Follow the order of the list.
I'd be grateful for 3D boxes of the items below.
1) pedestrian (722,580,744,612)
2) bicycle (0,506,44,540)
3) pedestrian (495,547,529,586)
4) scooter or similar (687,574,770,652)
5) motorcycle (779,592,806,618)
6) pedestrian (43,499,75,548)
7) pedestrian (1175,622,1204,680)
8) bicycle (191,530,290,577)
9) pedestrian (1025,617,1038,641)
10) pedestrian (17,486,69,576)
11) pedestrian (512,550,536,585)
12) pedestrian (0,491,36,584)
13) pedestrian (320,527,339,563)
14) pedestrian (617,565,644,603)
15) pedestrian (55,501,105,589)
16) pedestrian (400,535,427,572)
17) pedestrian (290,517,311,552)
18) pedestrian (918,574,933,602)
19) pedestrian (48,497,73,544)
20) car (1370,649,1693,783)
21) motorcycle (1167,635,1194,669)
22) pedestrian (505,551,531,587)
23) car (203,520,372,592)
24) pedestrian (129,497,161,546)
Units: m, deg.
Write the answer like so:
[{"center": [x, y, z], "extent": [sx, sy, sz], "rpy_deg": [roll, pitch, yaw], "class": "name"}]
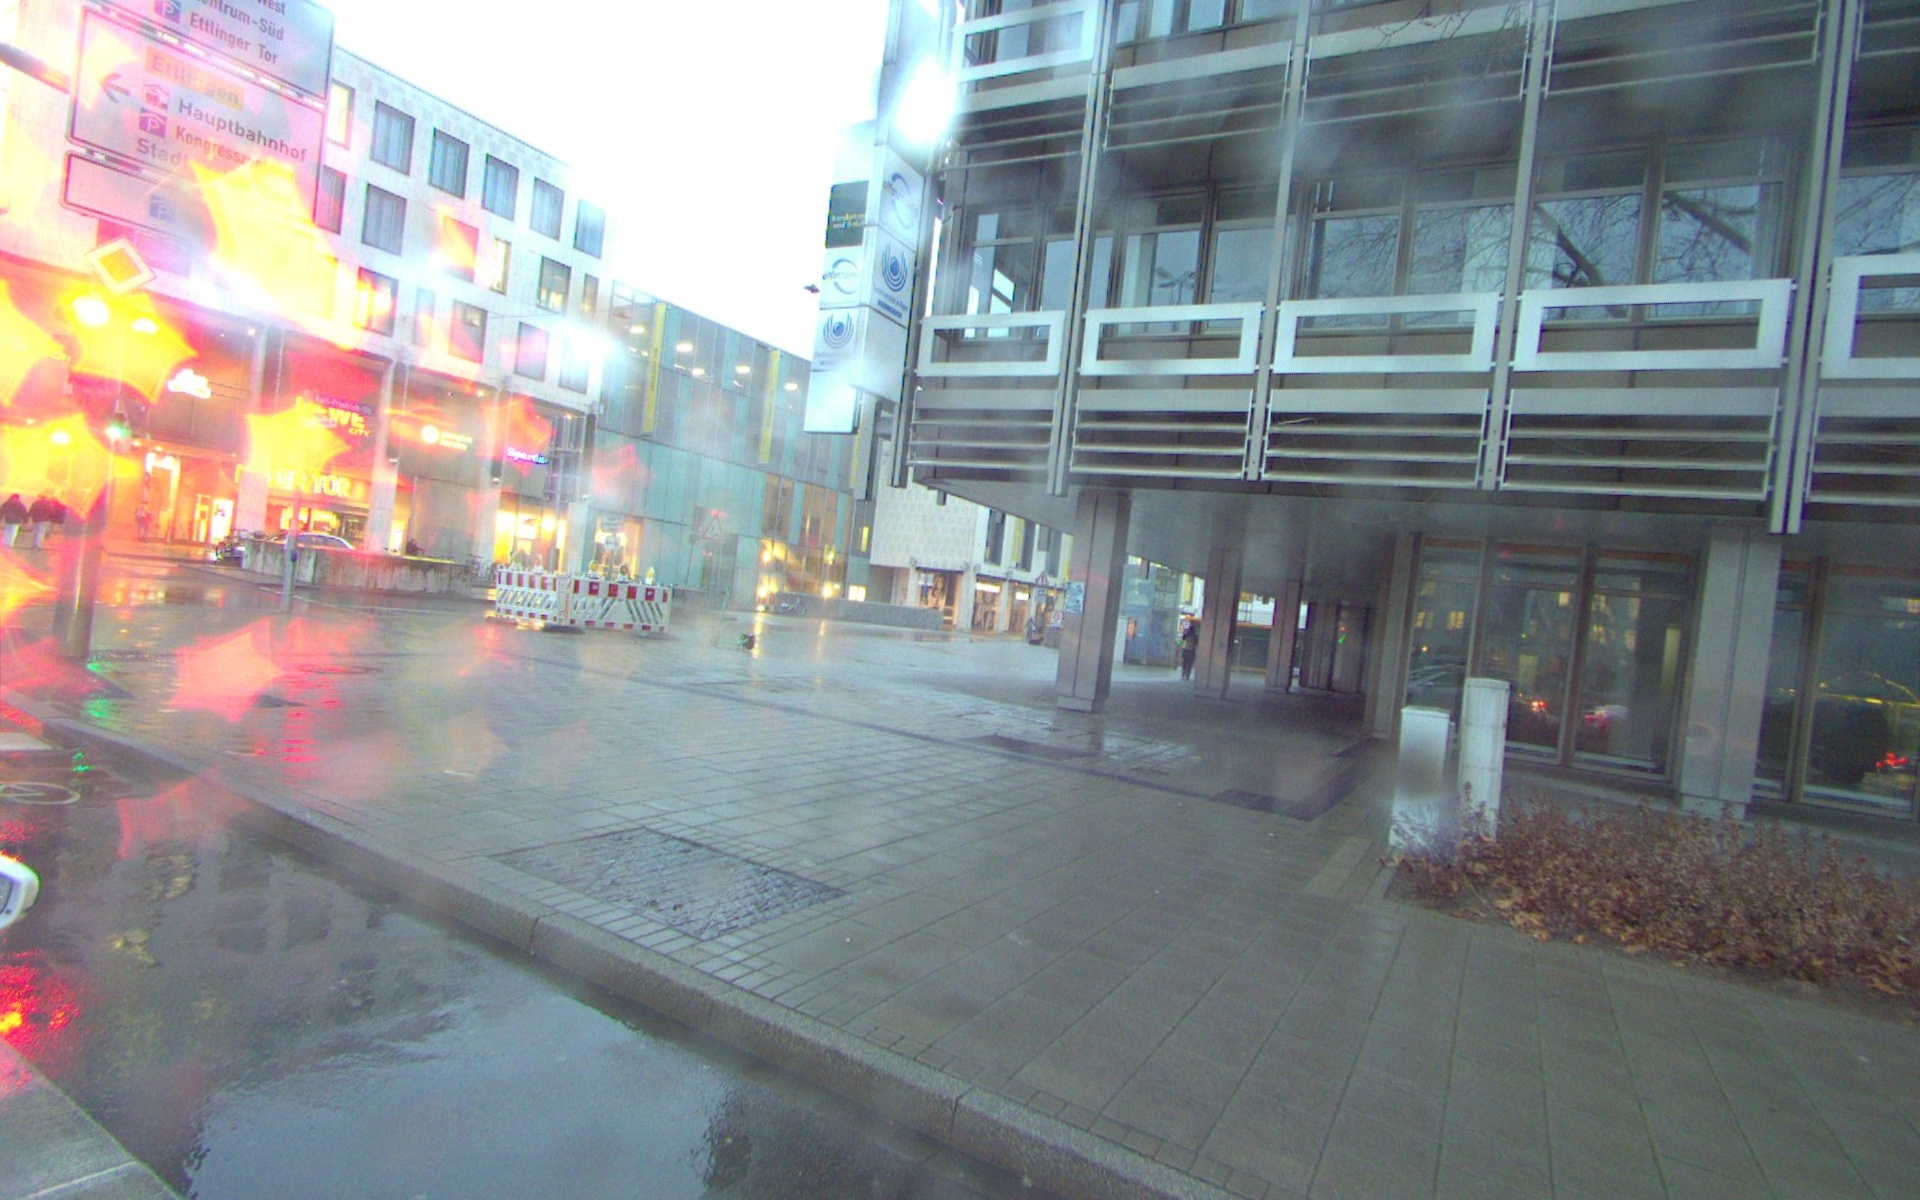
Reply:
[{"center": [-13.087, -0.205, 57.932], "extent": [0.770, 1.703, 0.742], "rpy_deg": [6, -1, 38], "class": "pedestrian"}, {"center": [-36.406, -2.984, 38.642], "extent": [0.515, 1.082, 1.651], "rpy_deg": [7, -2, 28], "class": "bicycle"}, {"center": [-21.608, -1.612, 48.543], "extent": [0.810, 1.703, 1.032], "rpy_deg": [6, -1, 31], "class": "pedestrian"}, {"center": [-4.657, 0.255, 20.227], "extent": [1.470, 1.368, 0.593], "rpy_deg": [7, -1, 32], "class": "scooter or similar"}, {"center": [-10.169, 0.287, 61.157], "extent": [0.585, 1.368, 1.491], "rpy_deg": [7, -1, 36], "class": "motorcycle"}, {"center": [-33.709, -2.874, 37.653], "extent": [0.564, 1.730, 0.637], "rpy_deg": [7, 1, 31], "class": "pedestrian"}, {"center": [7.444, 1.668, 32.603], "extent": [0.678, 1.796, 0.660], "rpy_deg": [7, -1, 16], "class": "pedestrian"}, {"center": [-26.343, -1.688, 36.891], "extent": [0.941, 1.375, 2.718], "rpy_deg": [6, -1, 28], "class": "bicycle"}, {"center": [5.458, 2.203, 76.802], "extent": [0.573, 1.703, 0.542], "rpy_deg": [6, -1, 38], "class": "pedestrian"}, {"center": [-26.527, -1.997, 29.100], "extent": [0.745, 2.469, 0.691], "rpy_deg": [7, -1, 31], "class": "pedestrian"}, {"center": [-22.829, -1.700, 52.667], "extent": [0.786, 1.760, 0.767], "rpy_deg": [6, 1, -43], "class": "pedestrian"}, {"center": [-26.513, -1.754, 28.024], "extent": [0.745, 2.469, 0.716], "rpy_deg": [7, -1, 31], "class": "pedestrian"}, {"center": [-32.182, -2.801, 51.339], "extent": [0.360, 1.706, 0.616], "rpy_deg": [7, 1, 28], "class": "pedestrian"}, {"center": [-15.842, -0.761, 48.321], "extent": [0.770, 1.703, 0.742], "rpy_deg": [6, -1, 38], "class": "pedestrian"}, {"center": [-25.919, -1.612, 29.632], "extent": [0.778, 2.477, 0.694], "rpy_deg": [7, -1, 32], "class": "pedestrian"}, {"center": [-26.509, -2.249, 48.782], "extent": [0.519, 1.705, 0.894], "rpy_deg": [6, 0, 31], "class": "pedestrian"}, {"center": [-33.918, -3.363, 51.780], "extent": [0.729, 1.740, 0.733], "rpy_deg": [6, 1, -31], "class": "pedestrian"}, {"center": [-2.199, -0.776, 64.066], "extent": [0.573, 1.703, 0.542], "rpy_deg": [6, -1, 38], "class": "pedestrian"}, {"center": [-33.629, -2.978, 37.621], "extent": [0.480, 1.683, 0.454], "rpy_deg": [6, 1, -28], "class": "pedestrian"}, {"center": [8.576, 1.659, 15.317], "extent": [3.935, 1.327, 1.994], "rpy_deg": [6, 1, 33], "class": "car"}, {"center": [9.679, 2.286, 44.140], "extent": [0.584, 1.368, 1.493], "rpy_deg": [7, -1, 29], "class": "motorcycle"}, {"center": [-22.323, -1.551, 50.761], "extent": [0.770, 1.703, 0.742], "rpy_deg": [6, -1, 38], "class": "pedestrian"}, {"center": [-21.729, -1.390, 32.666], "extent": [1.968, 1.636, 3.994], "rpy_deg": [6, -2, 33], "class": "car"}, {"center": [-35.560, -3.422, 43.899], "extent": [0.688, 2.039, 0.845], "rpy_deg": [7, 1, 40], "class": "pedestrian"}]
